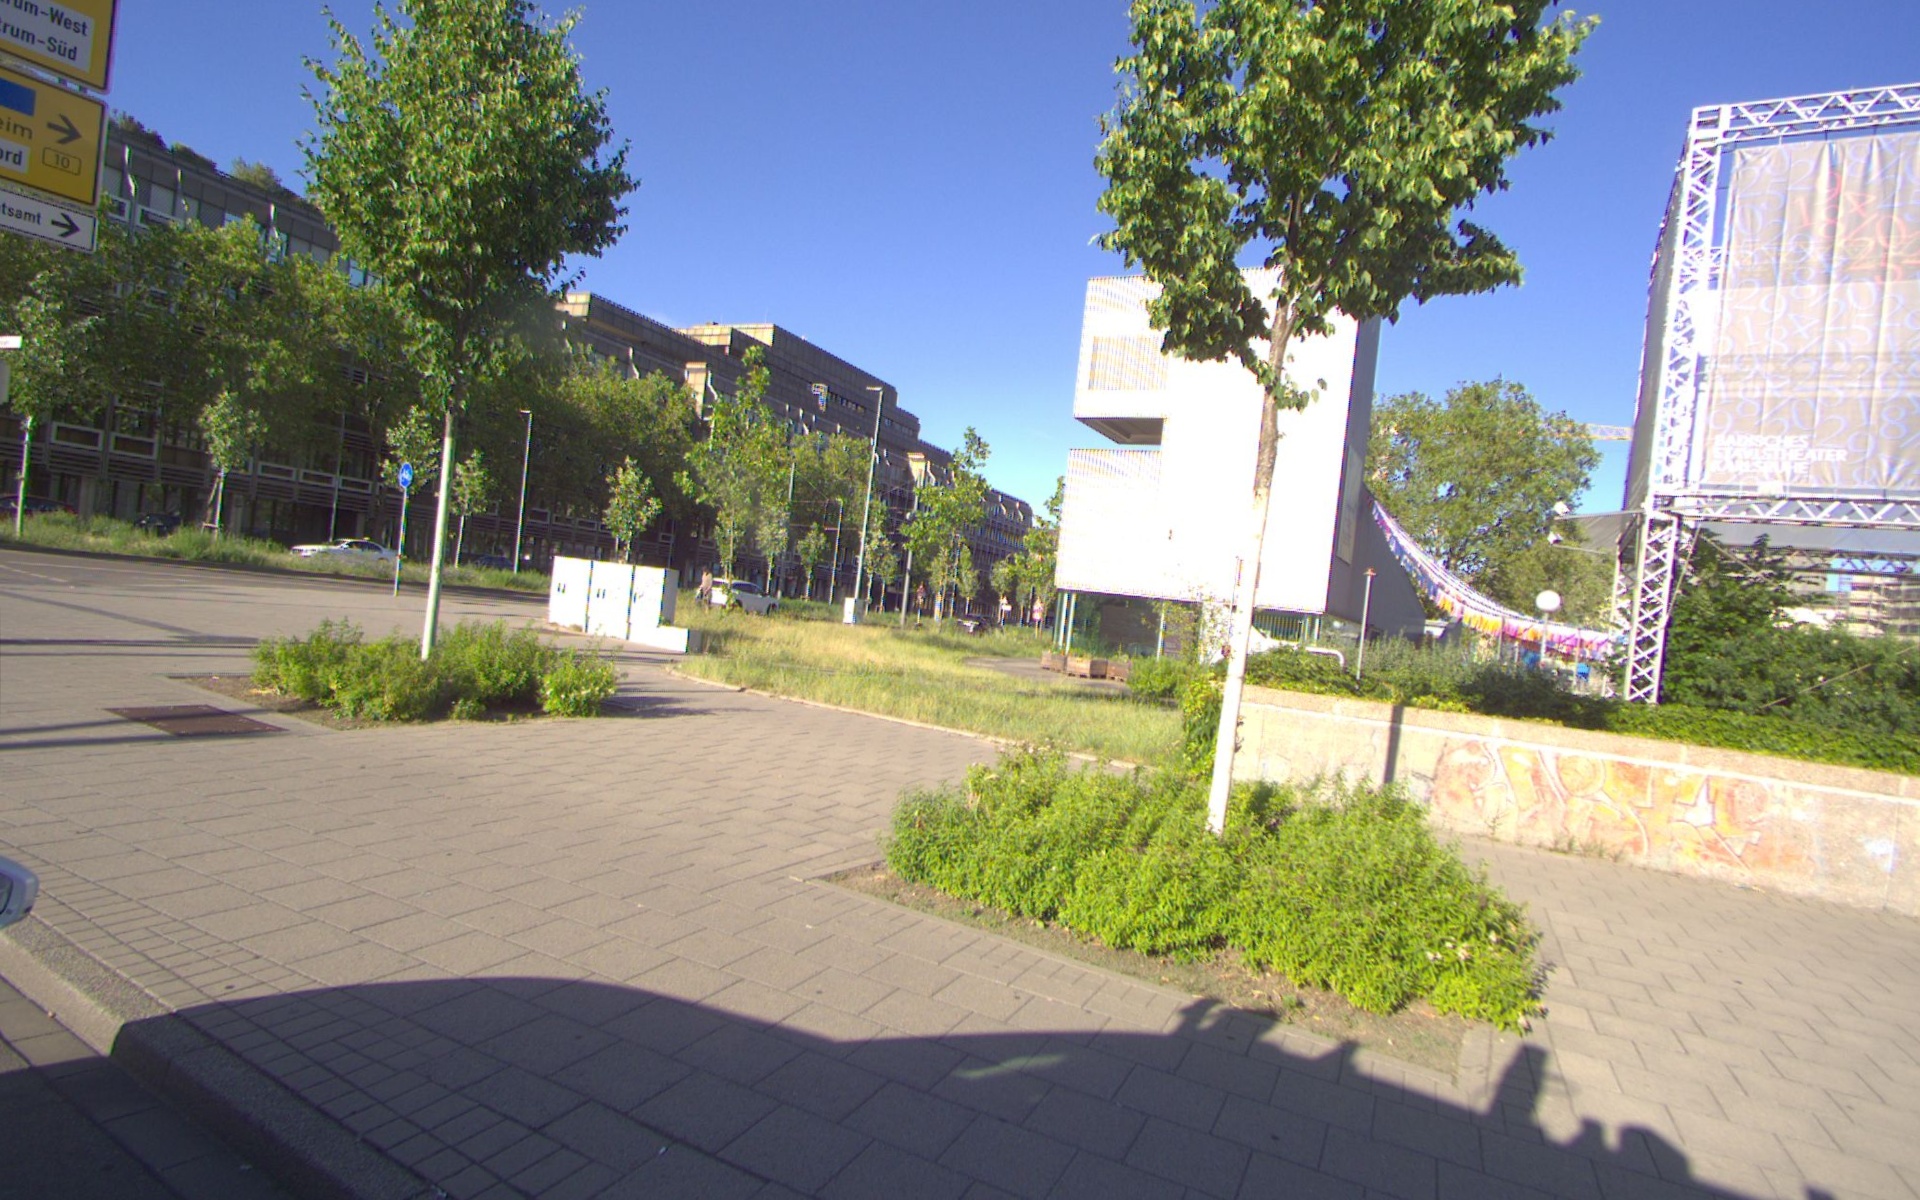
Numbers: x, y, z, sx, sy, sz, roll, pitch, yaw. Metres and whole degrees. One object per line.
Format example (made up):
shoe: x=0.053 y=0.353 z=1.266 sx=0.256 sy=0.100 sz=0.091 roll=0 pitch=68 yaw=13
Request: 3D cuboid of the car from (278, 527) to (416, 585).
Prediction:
car: x=-30.682 y=-2.182 z=50.584 sx=2.062 sy=2.036 sz=5.455 roll=6 pitch=-2 yaw=29

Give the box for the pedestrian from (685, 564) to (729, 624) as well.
pedestrian: x=-7.870 y=-0.172 z=31.343 sx=0.925 sy=1.750 sz=0.695 roll=7 pitch=1 yaw=18

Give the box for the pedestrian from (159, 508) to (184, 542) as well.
pedestrian: x=-42.872 y=-4.081 z=54.709 sx=0.728 sy=1.678 sz=0.665 roll=7 pitch=1 yaw=25

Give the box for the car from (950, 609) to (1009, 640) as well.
car: x=1.361 y=1.669 z=67.432 sx=1.964 sy=1.621 sz=4.950 roll=8 pitch=0 yaw=26

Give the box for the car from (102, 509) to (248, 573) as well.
car: x=-34.118 y=-2.530 z=43.881 sx=1.965 sy=2.036 sz=4.458 roll=7 pitch=-2 yaw=27

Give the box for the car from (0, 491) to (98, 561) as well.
car: x=-33.320 y=-2.712 z=35.374 sx=1.966 sy=2.036 sz=3.997 roll=6 pitch=-2 yaw=29

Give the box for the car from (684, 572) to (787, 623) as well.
car: x=-9.592 y=-0.054 z=43.394 sx=1.964 sy=1.680 sz=4.405 roll=8 pitch=0 yaw=23

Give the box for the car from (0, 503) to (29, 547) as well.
car: x=-37.250 y=-3.045 z=36.944 sx=1.836 sy=1.525 sz=3.997 roll=7 pitch=-2 yaw=29

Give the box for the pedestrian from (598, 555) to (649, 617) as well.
pedestrian: x=-9.756 y=-0.396 z=29.185 sx=0.925 sy=1.650 sz=0.803 roll=7 pitch=1 yaw=18

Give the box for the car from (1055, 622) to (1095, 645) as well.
car: x=9.821 y=2.875 z=85.885 sx=1.964 sy=1.546 sz=4.700 roll=7 pitch=-1 yaw=24

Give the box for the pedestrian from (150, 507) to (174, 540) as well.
pedestrian: x=-43.685 y=-4.174 z=55.081 sx=0.728 sy=1.678 sz=0.665 roll=7 pitch=1 yaw=25
